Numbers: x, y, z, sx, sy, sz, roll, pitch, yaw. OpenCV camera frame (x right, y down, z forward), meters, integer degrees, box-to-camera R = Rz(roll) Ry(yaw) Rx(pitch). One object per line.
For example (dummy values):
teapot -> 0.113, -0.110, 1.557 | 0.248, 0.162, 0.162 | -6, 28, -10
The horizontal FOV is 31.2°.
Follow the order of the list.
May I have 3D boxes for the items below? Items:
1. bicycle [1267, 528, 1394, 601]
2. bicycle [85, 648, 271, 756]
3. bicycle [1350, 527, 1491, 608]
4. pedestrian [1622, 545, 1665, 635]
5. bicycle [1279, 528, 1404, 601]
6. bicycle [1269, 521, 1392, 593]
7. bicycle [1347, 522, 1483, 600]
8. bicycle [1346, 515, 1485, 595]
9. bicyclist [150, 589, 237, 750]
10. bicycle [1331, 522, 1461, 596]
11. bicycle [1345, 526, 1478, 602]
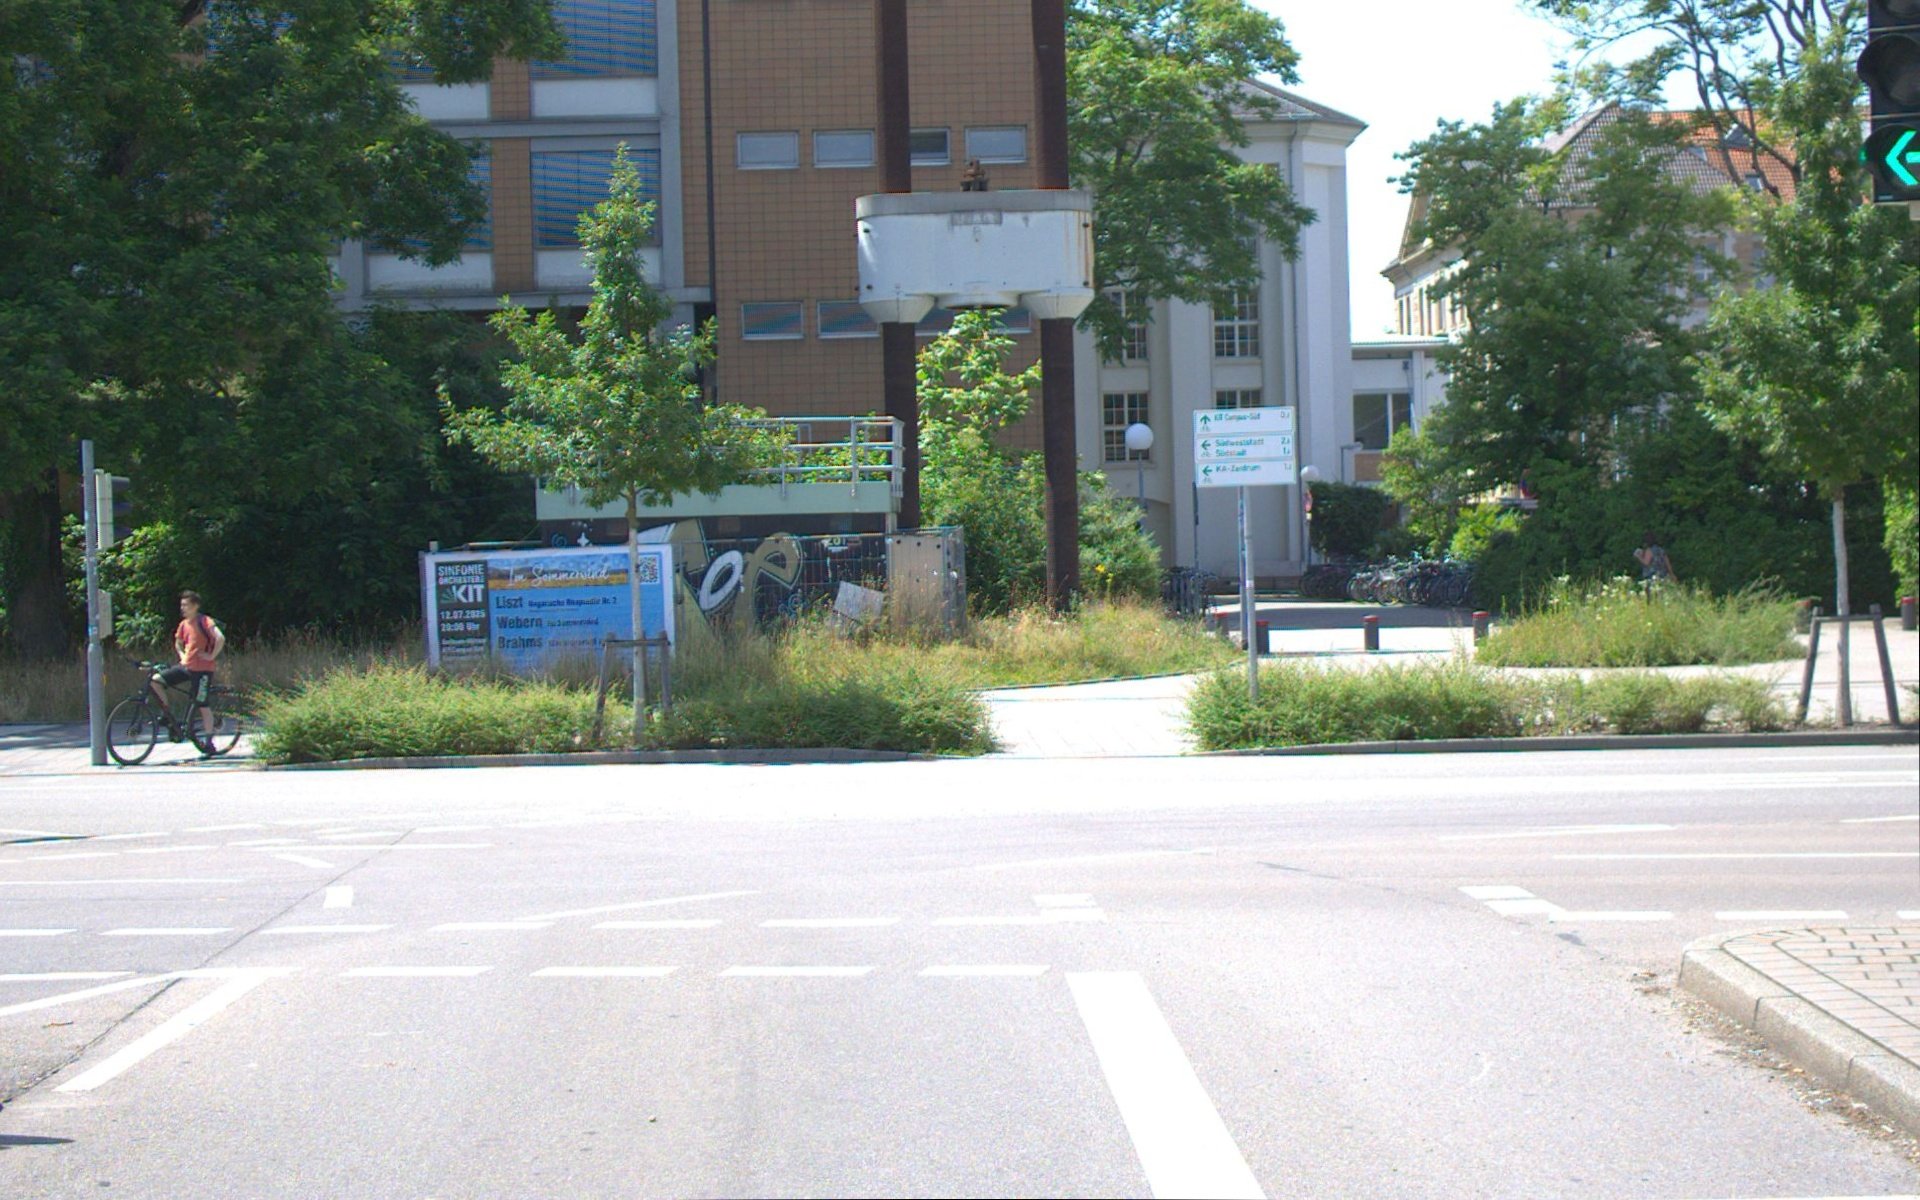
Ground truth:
bicycle -> 10.363, -1.003, 96.193 | 3.447, 2.007, 0.760 | 1, 0, 1
bicycle -> -8.477, 1.095, 37.333 | 0.558, 1.042, 1.992 | 1, 2, 41
bicycle -> 11.653, -0.830, 87.069 | 3.447, 2.007, 0.760 | 1, 0, 1
pedestrian -> 12.795, -0.194, 64.346 | 0.639, 1.660, 0.707 | 1, 0, -2
bicycle -> 10.786, -1.005, 97.372 | 3.447, 2.007, 0.760 | 1, 0, 1
bicycle -> 10.615, -1.232, 98.602 | 3.447, 2.007, 0.760 | 1, 0, 1
bicycle -> 11.896, -1.028, 89.952 | 3.447, 2.007, 0.760 | 1, 0, 1
bicycle -> 11.724, -1.164, 88.545 | 3.447, 2.007, 0.760 | 1, 0, 1
bicyclist -> -8.353, 0.743, 37.472 | 0.551, 1.710, 0.701 | 1, 2, 40
bicycle -> 11.965, -1.132, 94.432 | 3.447, 2.007, 0.760 | 1, 0, 1
bicycle -> 12.082, -0.965, 92.068 | 3.447, 2.007, 0.760 | 1, 0, 1
